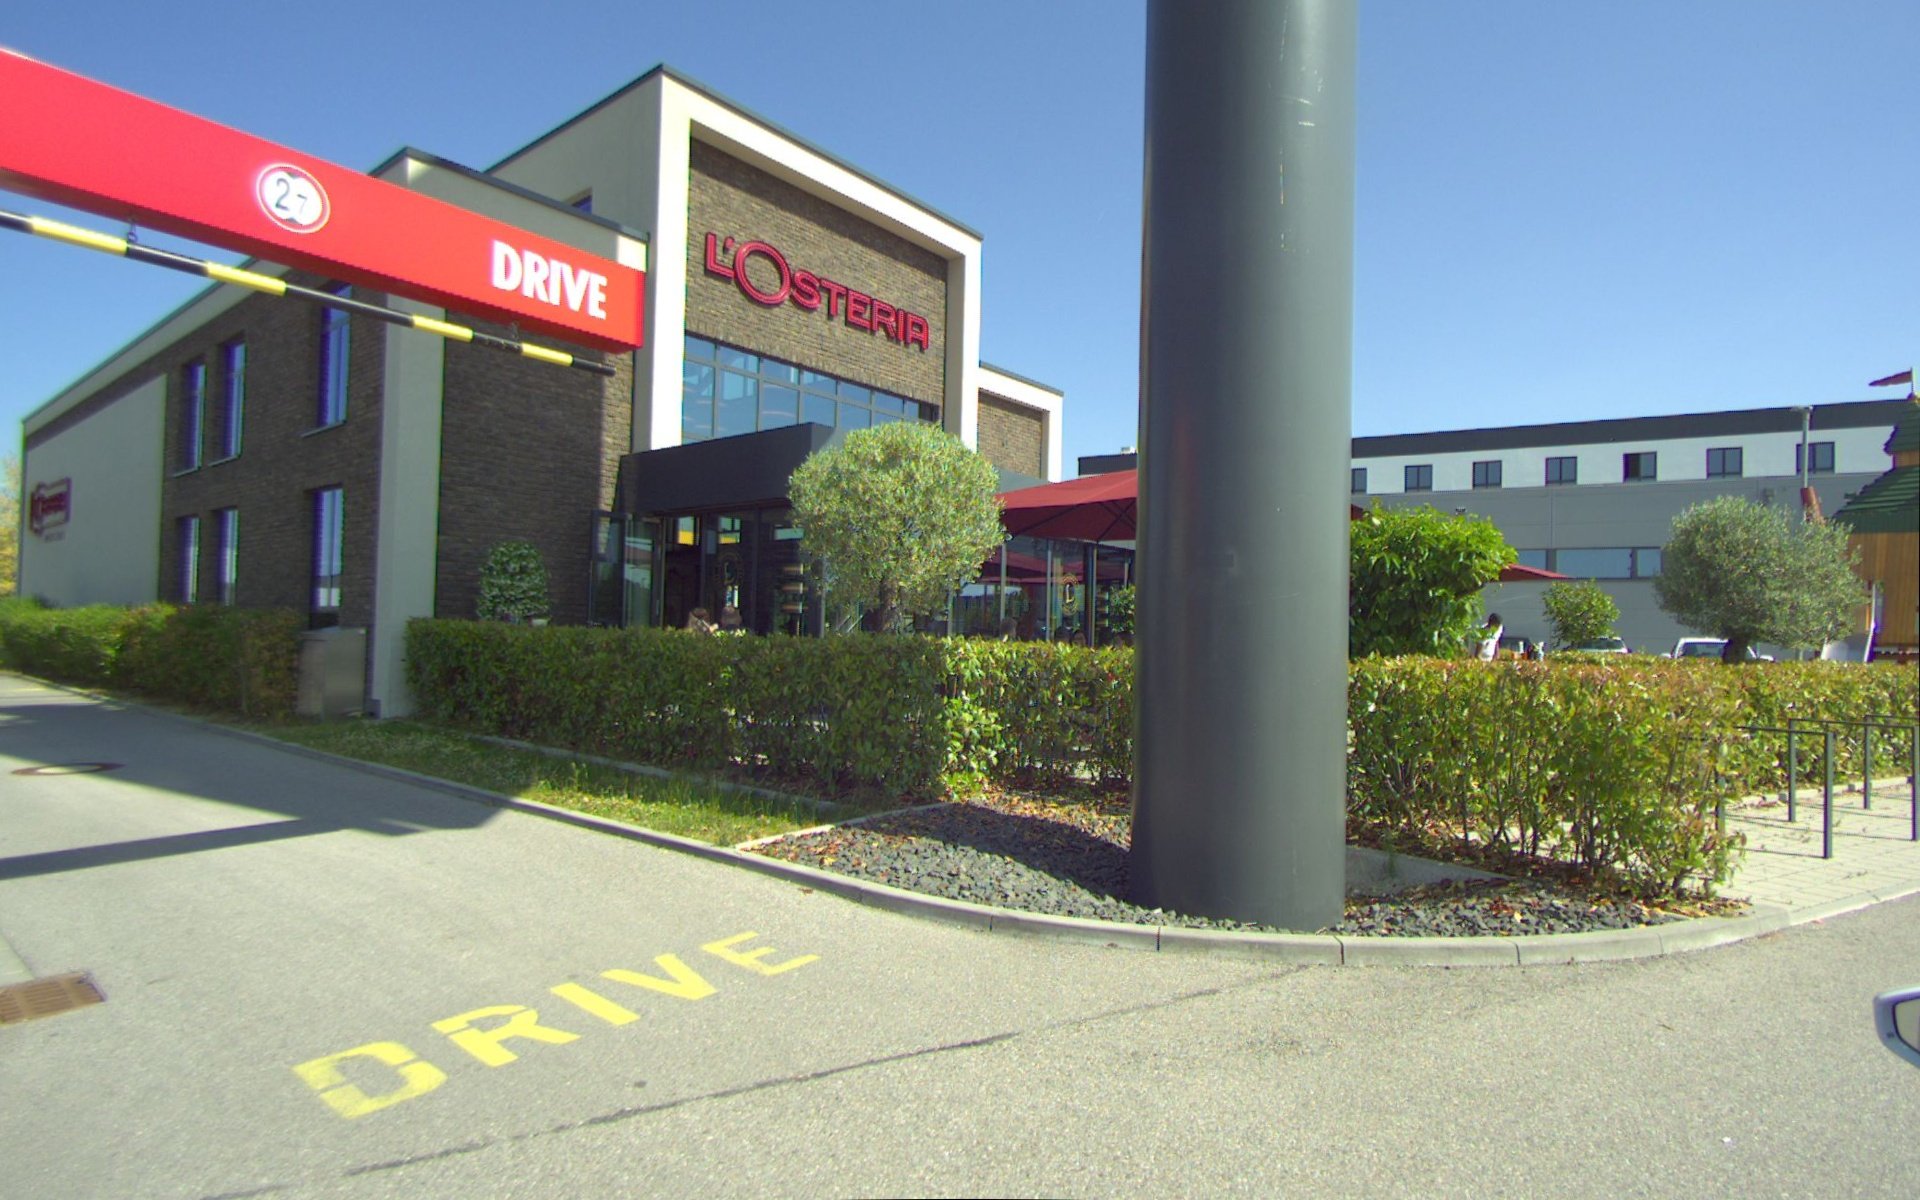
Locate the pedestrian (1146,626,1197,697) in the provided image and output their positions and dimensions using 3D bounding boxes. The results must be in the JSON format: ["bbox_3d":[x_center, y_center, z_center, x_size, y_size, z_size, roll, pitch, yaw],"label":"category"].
[{"bbox_3d":[3.751,1.076,17.816,0.607,1.214,0.707,1,-1,-20],"label":"pedestrian"}]

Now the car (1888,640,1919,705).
[{"bbox_3d":[21.348,1.567,20.974,1.834,1.380,4.370,0,-1,28],"label":"car"}]

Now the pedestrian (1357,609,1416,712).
[{"bbox_3d":[7.005,0.967,16.481,0.772,1.636,0.761,0,-1,33],"label":"pedestrian"}]

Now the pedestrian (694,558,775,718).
[{"bbox_3d":[-2.230,0.368,9.929,0.517,1.525,0.567,0,-1,37],"label":"pedestrian"}]

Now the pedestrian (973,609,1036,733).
[{"bbox_3d":[0.520,0.808,11.638,0.637,1.385,0.482,0,-1,14],"label":"pedestrian"}]

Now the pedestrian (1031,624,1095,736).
[{"bbox_3d":[1.150,0.873,11.147,0.637,1.200,0.482,0,-1,14],"label":"pedestrian"}]

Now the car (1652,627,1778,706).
[{"bbox_3d":[16.841,1.409,22.605,1.920,1.551,4.365,0,-1,33],"label":"car"}]

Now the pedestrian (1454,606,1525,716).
[{"bbox_3d":[8.488,0.964,16.133,0.770,1.710,0.763,1,-1,4],"label":"pedestrian"}]

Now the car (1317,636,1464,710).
[{"bbox_3d":[8.815,1.418,20.406,1.624,1.326,3.821,-1,-2,42],"label":"car"}]

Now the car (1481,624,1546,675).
[{"bbox_3d":[18.994,1.658,34.595,1.851,1.607,4.103,0,-1,28],"label":"car"}]

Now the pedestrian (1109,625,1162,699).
[{"bbox_3d":[3.006,1.040,17.172,0.698,1.214,0.666,0,-1,32],"label":"pedestrian"}]

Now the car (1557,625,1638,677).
[{"bbox_3d":[21.269,1.662,33.653,1.918,1.607,4.370,0,-1,28],"label":"car"}]

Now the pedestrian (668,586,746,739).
[{"bbox_3d":[-2.618,0.631,10.410,0.517,1.525,0.567,0,-1,37],"label":"pedestrian"}]

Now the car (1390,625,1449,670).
[{"bbox_3d":[16.624,1.683,36.234,1.705,1.507,3.946,0,-1,28],"label":"car"}]

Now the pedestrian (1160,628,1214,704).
[{"bbox_3d":[3.714,1.065,16.442,0.606,1.214,0.708,1,-1,-14],"label":"pedestrian"}]
